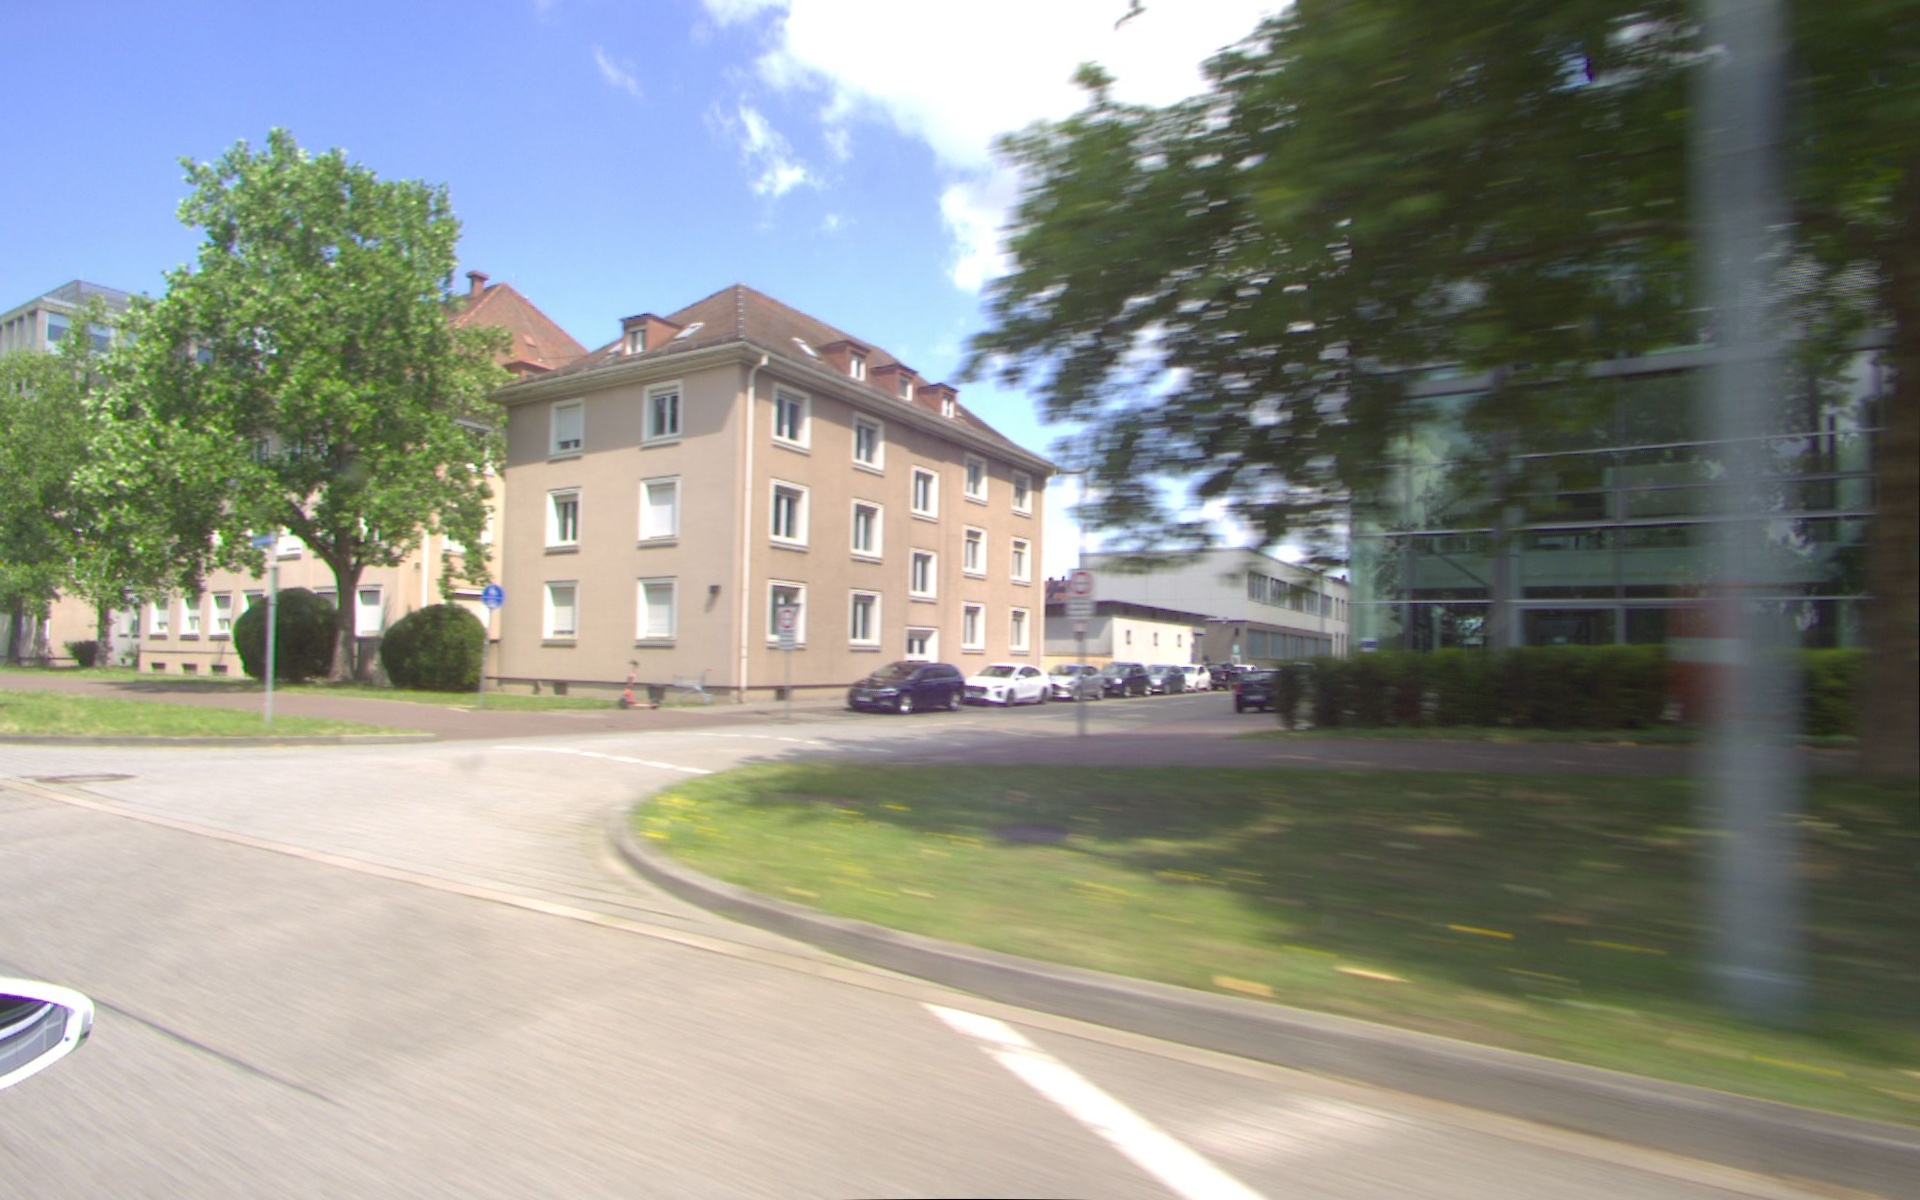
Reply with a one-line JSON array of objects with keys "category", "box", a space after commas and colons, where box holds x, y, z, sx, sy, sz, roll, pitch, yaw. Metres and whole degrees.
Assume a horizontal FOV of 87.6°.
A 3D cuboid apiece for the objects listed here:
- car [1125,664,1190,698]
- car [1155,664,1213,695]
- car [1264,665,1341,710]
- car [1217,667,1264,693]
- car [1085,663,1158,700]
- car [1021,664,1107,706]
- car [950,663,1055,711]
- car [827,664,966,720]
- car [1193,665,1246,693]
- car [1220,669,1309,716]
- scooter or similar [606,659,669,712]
[{"category": "car", "box": [9.760, 3.979, 49.339, 1.835, 1.464, 4.054, 2, -2, 31]}, {"category": "car", "box": [11.975, 4.225, 53.378, 1.835, 1.464, 4.054, 2, -2, 31]}, {"category": "car", "box": [13.035, 3.282, 37.977, 1.794, 1.566, 3.981, -5, -6, 33]}, {"category": "car", "box": [17.603, 5.008, 62.745, 1.835, 1.464, 4.054, 2, -2, 31]}, {"category": "car", "box": [7.286, 3.643, 44.925, 1.835, 1.464, 4.054, 2, -2, 31]}, {"category": "car", "box": [4.195, 3.355, 39.996, 1.835, 1.464, 4.054, 2, -2, 31]}, {"category": "car", "box": [1.573, 3.043, 35.564, 1.835, 1.464, 4.296, 2, -2, 31]}, {"category": "car", "box": [-1.789, 2.665, 29.787, 1.969, 1.371, 4.450, 4, -1, 30]}, {"category": "car", "box": [15.090, 4.580, 58.135, 1.835, 1.464, 4.054, 2, -2, 31]}, {"category": "car", "box": [10.311, 3.089, 33.710, 1.794, 1.434, 3.981, -5, -6, 33]}, {"category": "scooter or similar", "box": [-8.226, 2.167, 25.585, 1.430, 1.319, 0.542, 4, -4, -43]}]
